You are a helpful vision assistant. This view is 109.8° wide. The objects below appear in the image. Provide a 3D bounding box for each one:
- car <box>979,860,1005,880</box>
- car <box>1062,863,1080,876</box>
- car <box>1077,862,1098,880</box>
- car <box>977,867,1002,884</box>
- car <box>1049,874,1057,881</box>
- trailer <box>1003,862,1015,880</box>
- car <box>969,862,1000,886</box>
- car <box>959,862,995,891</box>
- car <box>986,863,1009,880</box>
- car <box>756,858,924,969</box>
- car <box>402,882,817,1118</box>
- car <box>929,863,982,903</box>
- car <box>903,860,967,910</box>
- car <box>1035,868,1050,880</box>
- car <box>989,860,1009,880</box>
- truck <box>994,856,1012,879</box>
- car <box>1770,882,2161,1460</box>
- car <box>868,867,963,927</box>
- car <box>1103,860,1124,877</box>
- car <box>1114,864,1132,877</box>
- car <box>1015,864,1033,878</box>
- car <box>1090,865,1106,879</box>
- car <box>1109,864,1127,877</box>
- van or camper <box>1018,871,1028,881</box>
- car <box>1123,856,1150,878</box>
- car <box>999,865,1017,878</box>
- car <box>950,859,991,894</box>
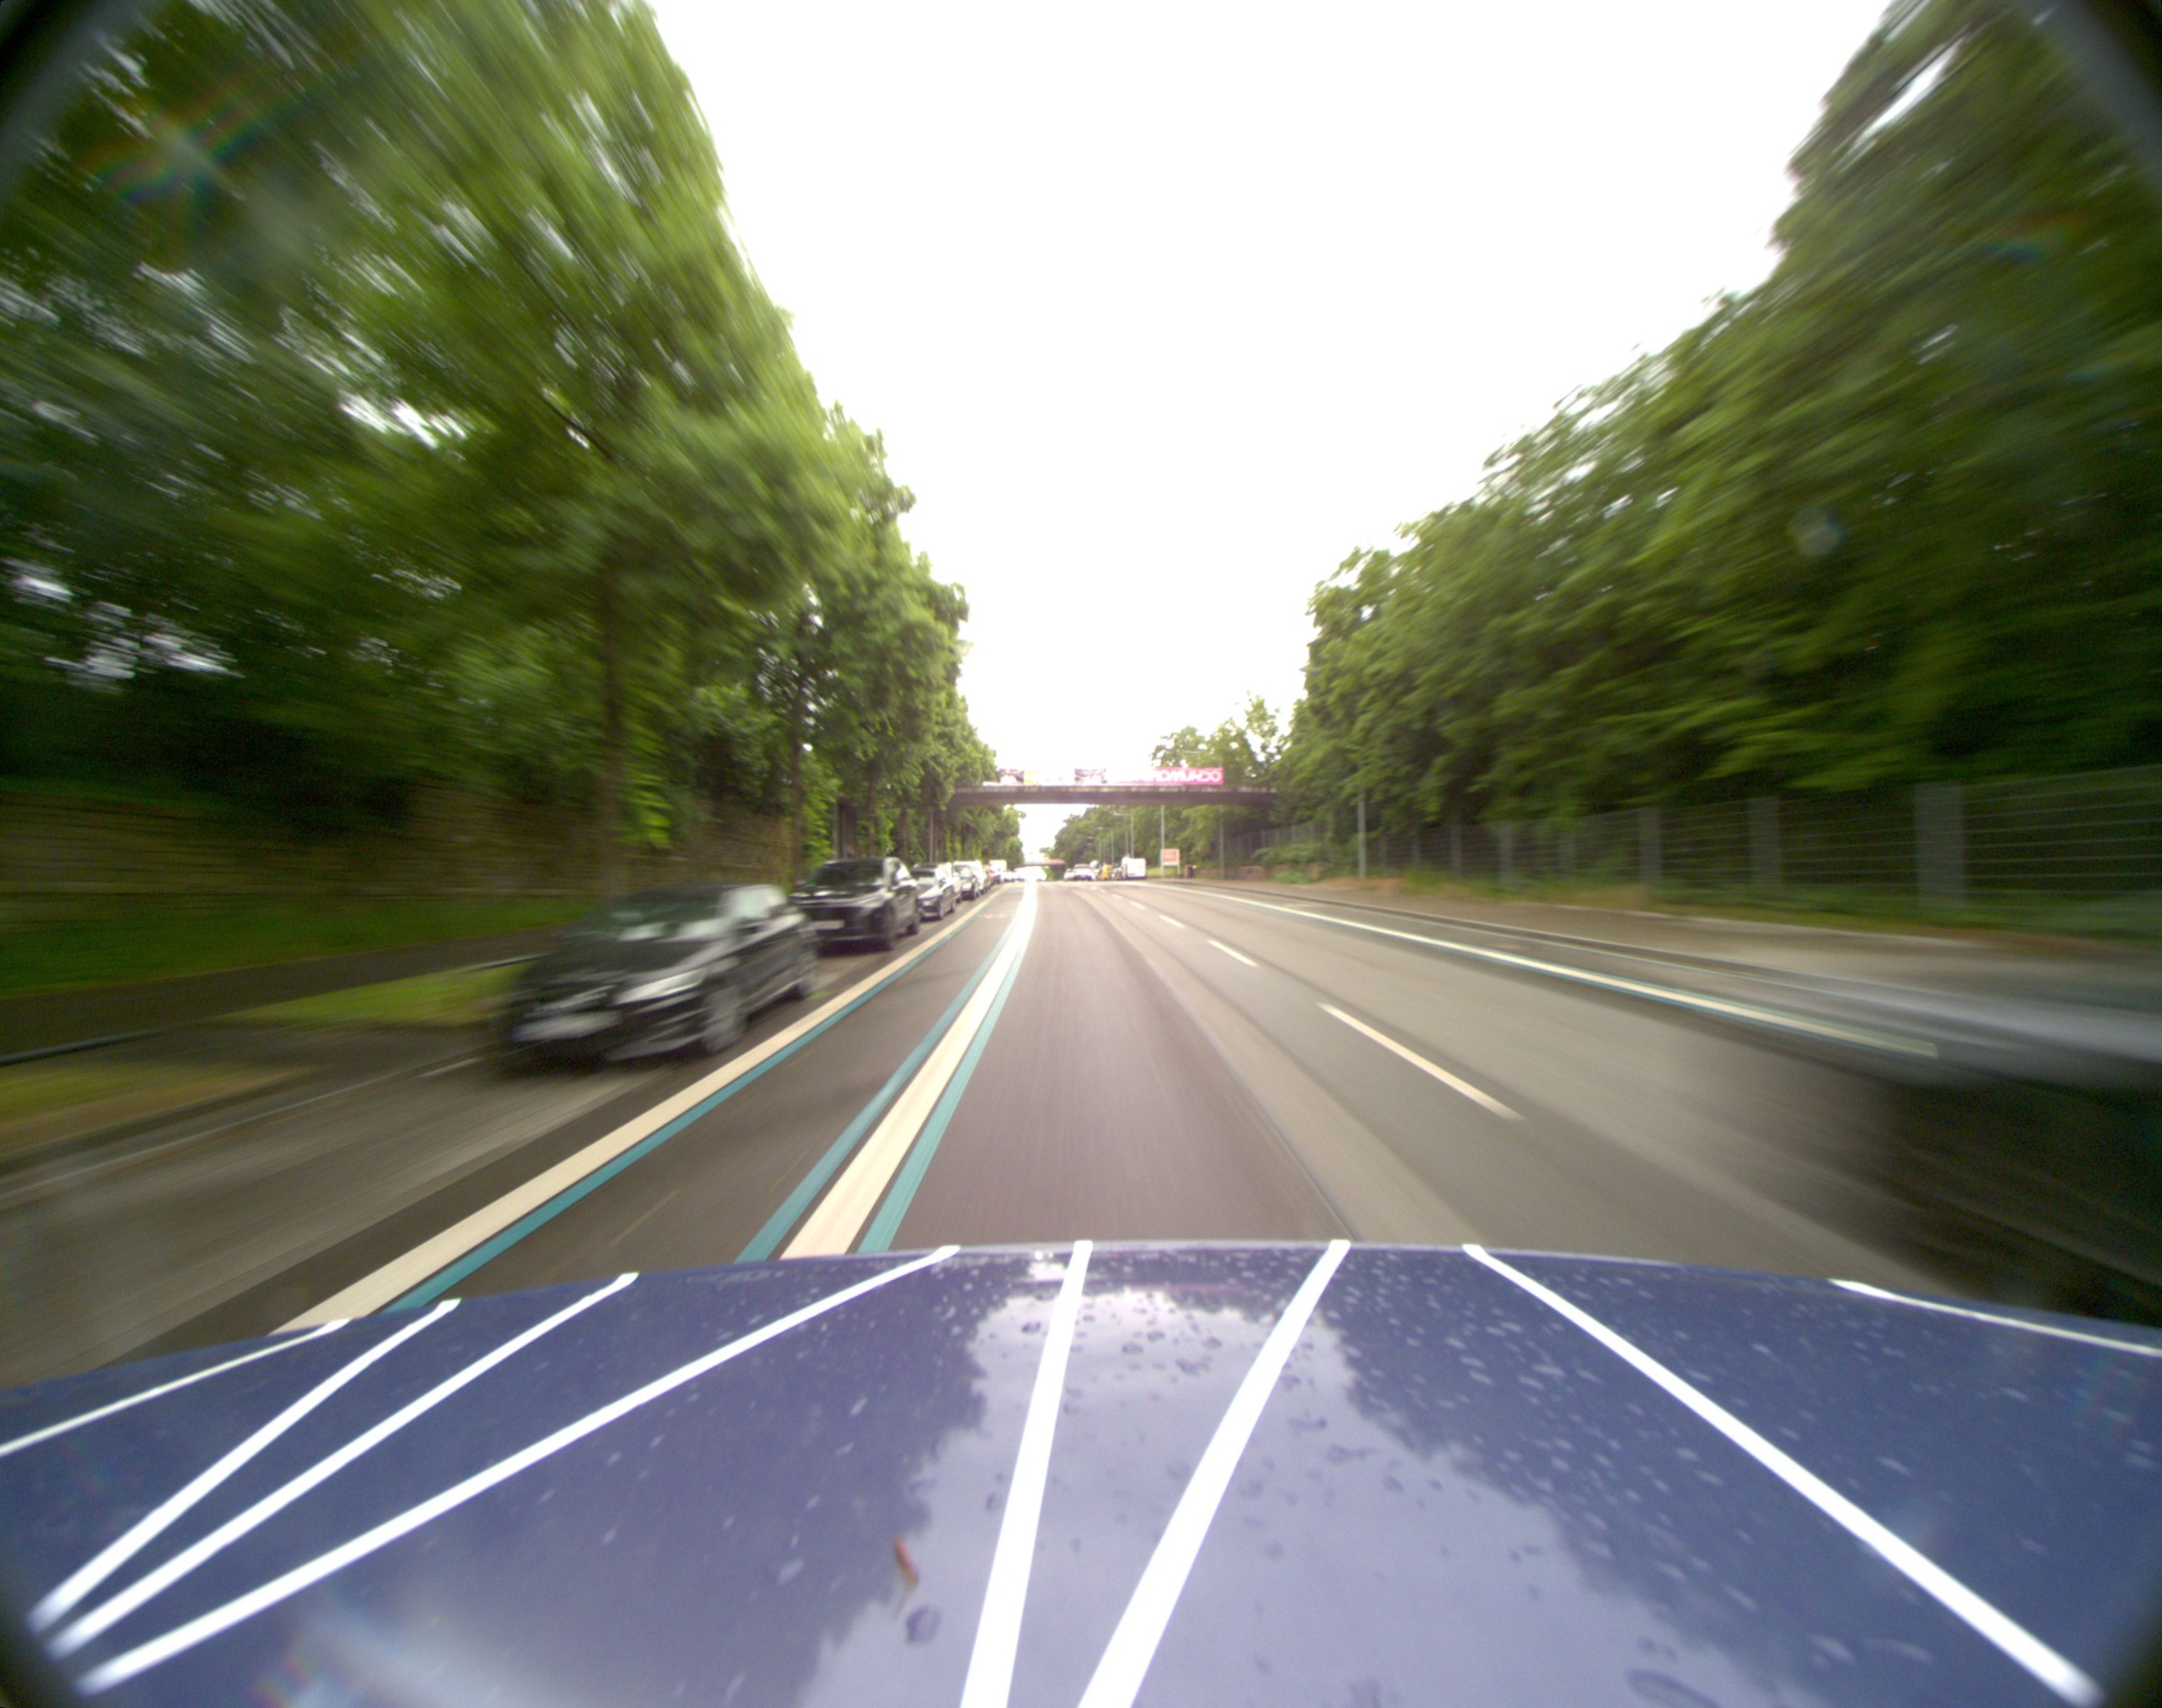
[{"bbox_3d":[-7.177,1.326,61.458,2.000,1.550,4.641,-1,-2,-7],"label":"car"},{"bbox_3d":[-1.249,1.930,94.364,1.977,1.542,3.869,-1,-1,-4],"label":"car"},{"bbox_3d":[0.579,1.556,71.403,1.801,1.567,4.101,-1,0,-3],"label":"car"},{"bbox_3d":[-6.736,1.591,56.468,1.630,1.182,4.183,-1,-2,-5],"label":"car"},{"bbox_3d":[-6.853,5.783,185.010,1.715,1.608,4.150,1,-2,-4],"label":"car"},{"bbox_3d":[-9.264,2.162,97.260,1.350,2.255,3.564,-2,-1,-4],"label":"trailer"},{"bbox_3d":[-6.533,1.358,51.111,1.565,1.457,3.622,-2,-2,-15],"label":"car"},{"bbox_3d":[-5.819,1.229,42.944,1.677,1.385,4.448,-1,1,-4],"label":"car"},{"bbox_3d":[-7.358,1.592,67.324,1.664,1.417,4.618,-1,-2,-3],"label":"car"},{"bbox_3d":[-4.362,0.979,14.539,1.999,1.636,4.346,-2,1,-3],"label":"car"},{"bbox_3d":[-3.923,1.077,7.244,1.683,1.368,3.997,-1,1,-5],"label":"car"},{"bbox_3d":[-5.192,1.160,31.820,1.723,1.368,4.556,-1,1,-4],"label":"car"},{"bbox_3d":[-5.071,1.040,26.776,1.666,1.526,3.740,-2,0,-3],"label":"car"},{"bbox_3d":[-5.150,2.686,100.957,1.829,1.453,3.881,-2,-2,-4],"label":"car"},{"bbox_3d":[-7.937,1.573,74.129,1.727,1.779,4.345,-1,-2,-4],"label":"car"},{"bbox_3d":[-8.163,1.437,79.793,1.724,2.319,4.000,-1,-2,-4],"label":"truck"},{"bbox_3d":[3.655,0.844,1.015,1.764,1.428,4.151,-2,0,2],"label":"car"},{"bbox_3d":[-4.532,1.131,21.447,1.779,1.340,4.465,-2,1,-2],"label":"car"},{"bbox_3d":[4.021,1.832,94.953,1.999,1.901,4.844,-1,-2,-4],"label":"car"},{"bbox_3d":[4.648,1.876,84.520,1.612,1.437,4.038,0,-2,-4],"label":"car"},{"bbox_3d":[-5.849,1.777,78.443,1.726,1.389,4.590,-1,-2,-4],"label":"car"},{"bbox_3d":[2.578,2.793,117.141,1.878,1.965,4.735,0,-2,-5],"label":"car"},{"bbox_3d":[4.335,1.979,89.398,1.714,1.495,4.151,0,-2,-2],"label":"car"},{"bbox_3d":[-15.944,6.124,209.331,2.643,2.617,5.742,-1,-2,-4],"label":"van or camper"},{"bbox_3d":[5.148,1.235,70.710,1.984,1.902,5.228,-1,-2,-1],"label":"car"},{"bbox_3d":[-8.848,2.144,91.932,1.762,1.575,4.411,-1,-2,-10],"label":"car"},{"bbox_3d":[-5.398,1.059,37.496,1.718,1.609,4.259,-1,0,-5],"label":"car"}]
